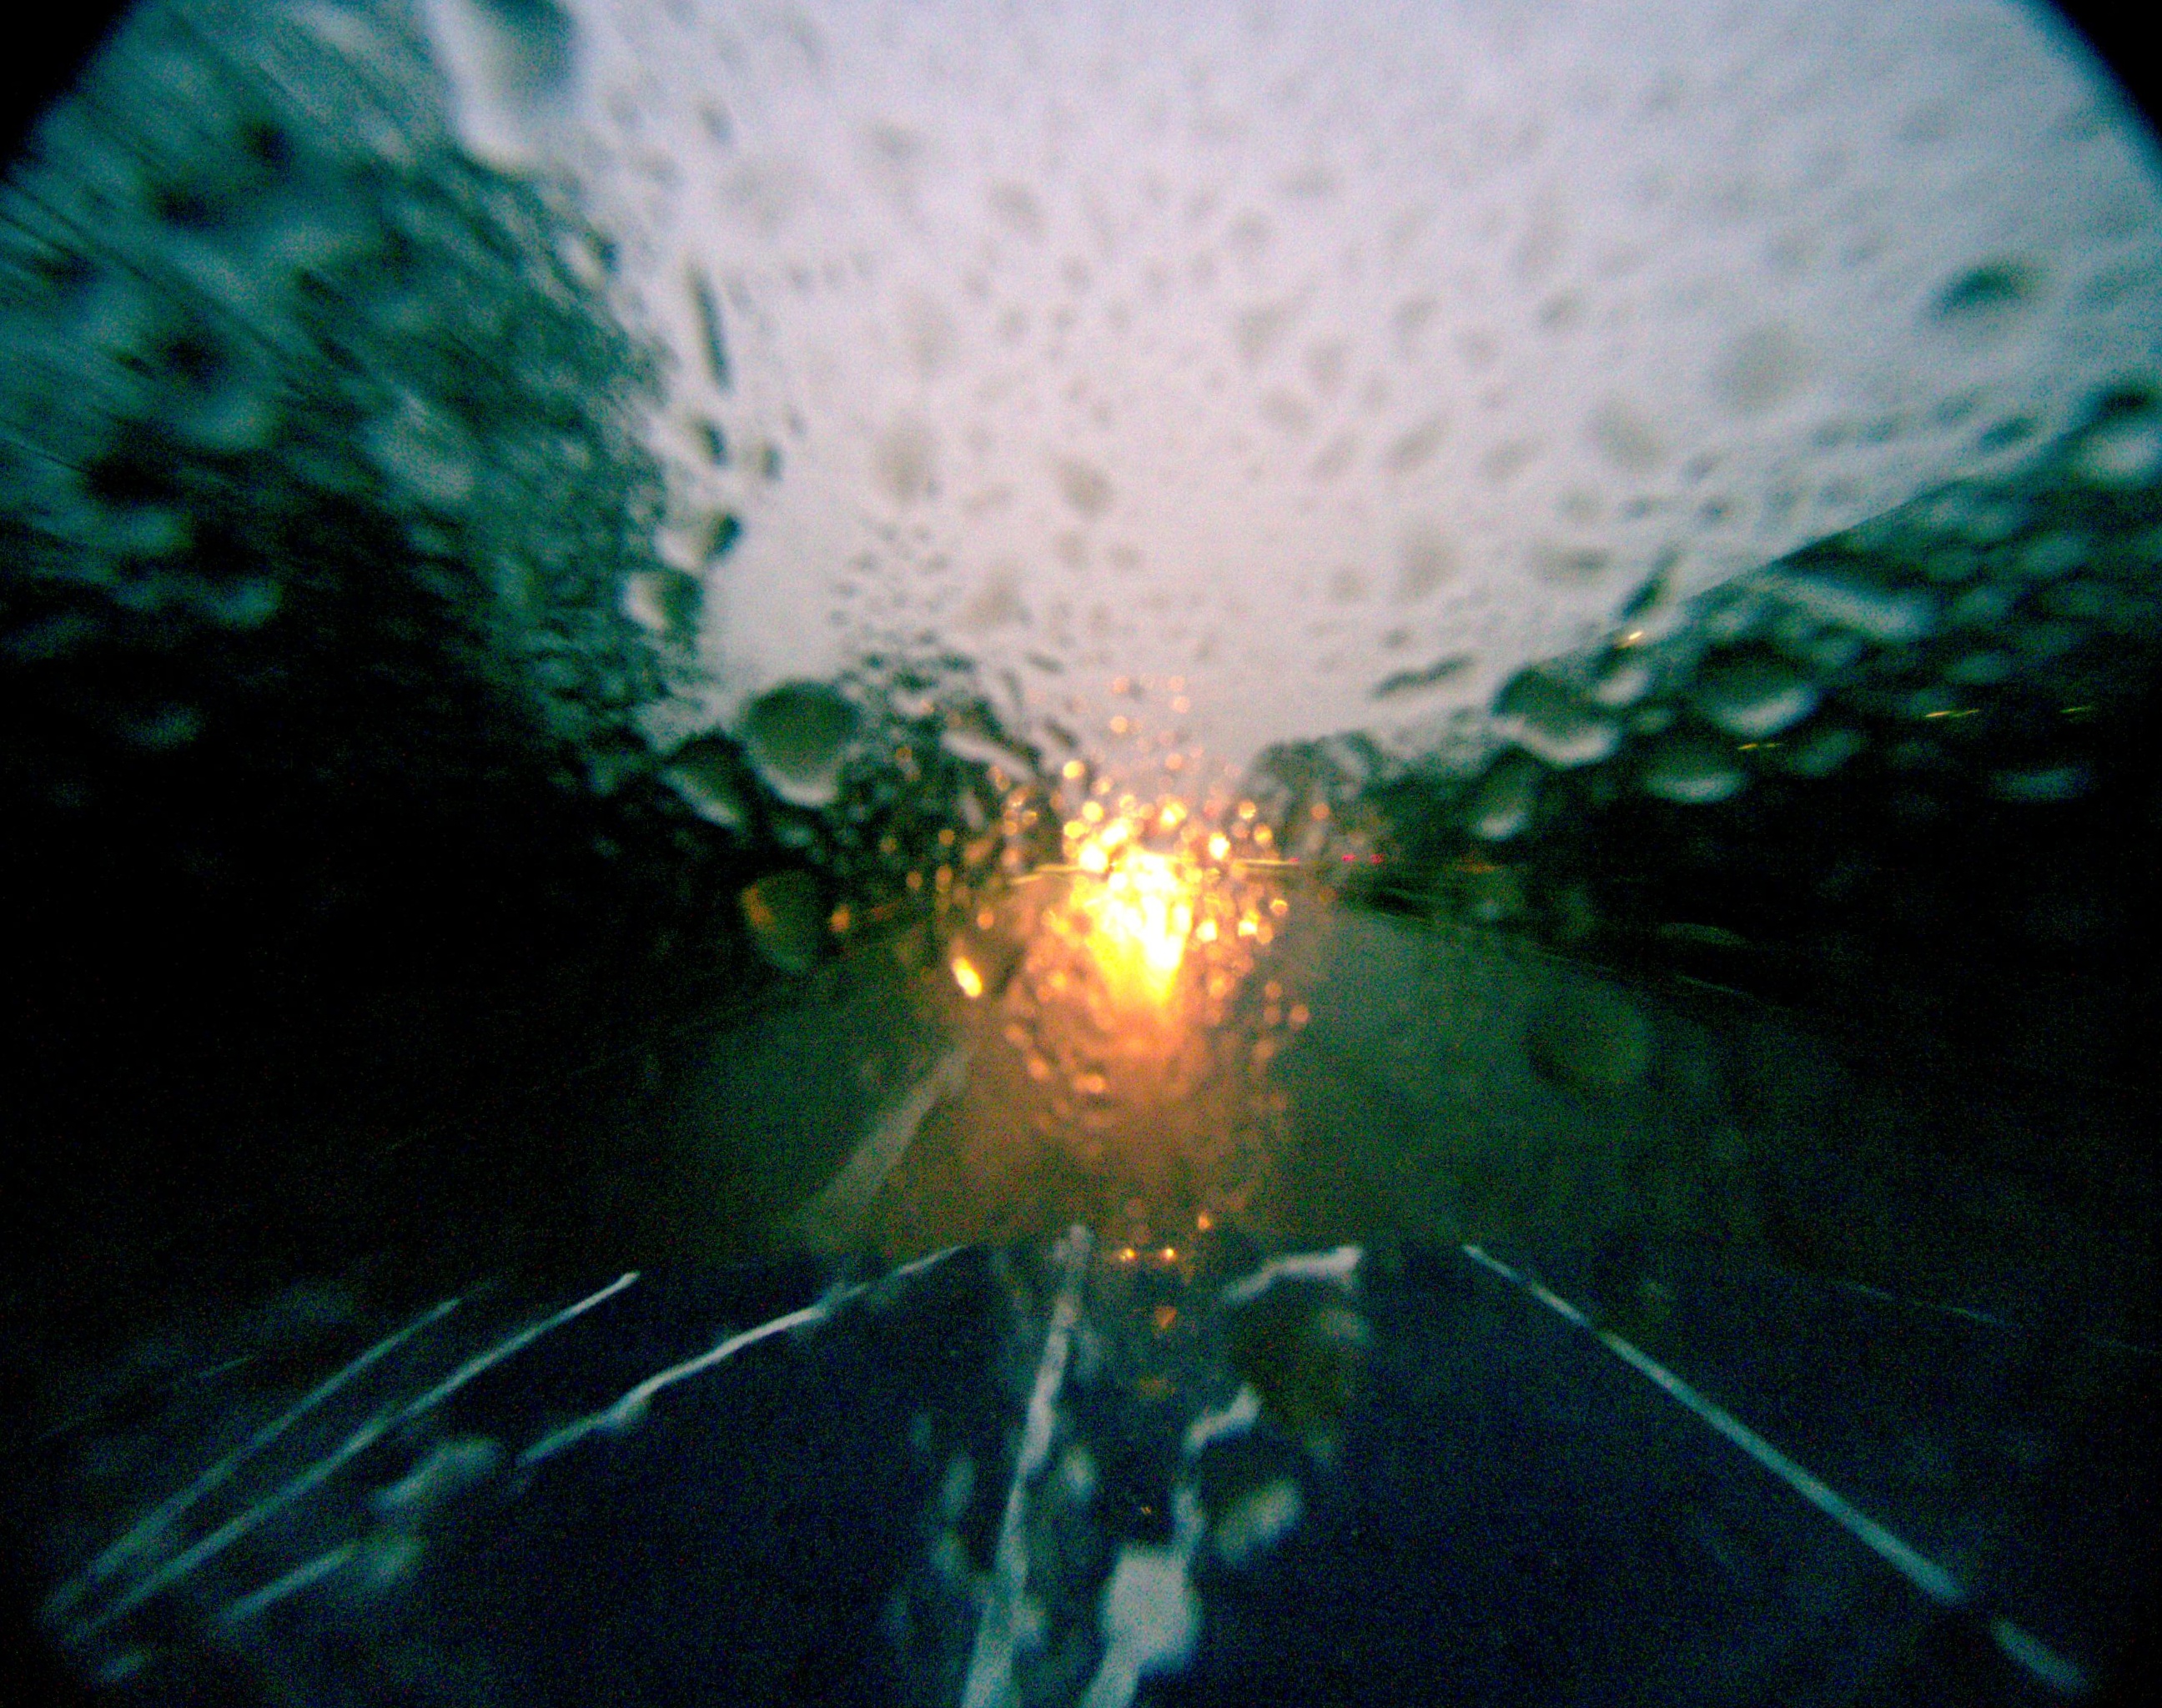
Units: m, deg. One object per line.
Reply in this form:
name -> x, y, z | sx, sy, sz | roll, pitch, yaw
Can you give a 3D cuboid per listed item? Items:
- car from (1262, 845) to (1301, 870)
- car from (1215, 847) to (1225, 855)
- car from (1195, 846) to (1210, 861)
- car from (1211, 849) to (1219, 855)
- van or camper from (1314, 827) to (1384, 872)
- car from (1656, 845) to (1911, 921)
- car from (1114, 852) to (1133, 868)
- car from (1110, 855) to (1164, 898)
car -> 13.797, 0.231, 52.524 | 1.786, 1.543, 4.001 | -5, 0, 4
car -> 29.909, -0.622, 163.910 | 1.548, 1.504, 4.541 | -3, 0, 5
car -> 19.938, -0.136, 124.962 | 1.979, 2.268, 5.051 | -3, 0, 6
car -> 33.731, -0.494, 190.895 | 1.548, 1.264, 4.688 | -5, 0, 5
van or camper -> 17.324, -0.270, 49.661 | 2.081, 2.556, 7.405 | -5, 0, 3
car -> 15.359, 0.565, 16.994 | 1.900, 1.352, 4.209 | -5, 0, 4
car -> 4.498, 0.649, 80.774 | 1.841, 1.553, 3.867 | -5, 0, 1
car -> 2.329, 0.837, 30.509 | 1.951, 1.511, 4.789 | -2, 0, 6
